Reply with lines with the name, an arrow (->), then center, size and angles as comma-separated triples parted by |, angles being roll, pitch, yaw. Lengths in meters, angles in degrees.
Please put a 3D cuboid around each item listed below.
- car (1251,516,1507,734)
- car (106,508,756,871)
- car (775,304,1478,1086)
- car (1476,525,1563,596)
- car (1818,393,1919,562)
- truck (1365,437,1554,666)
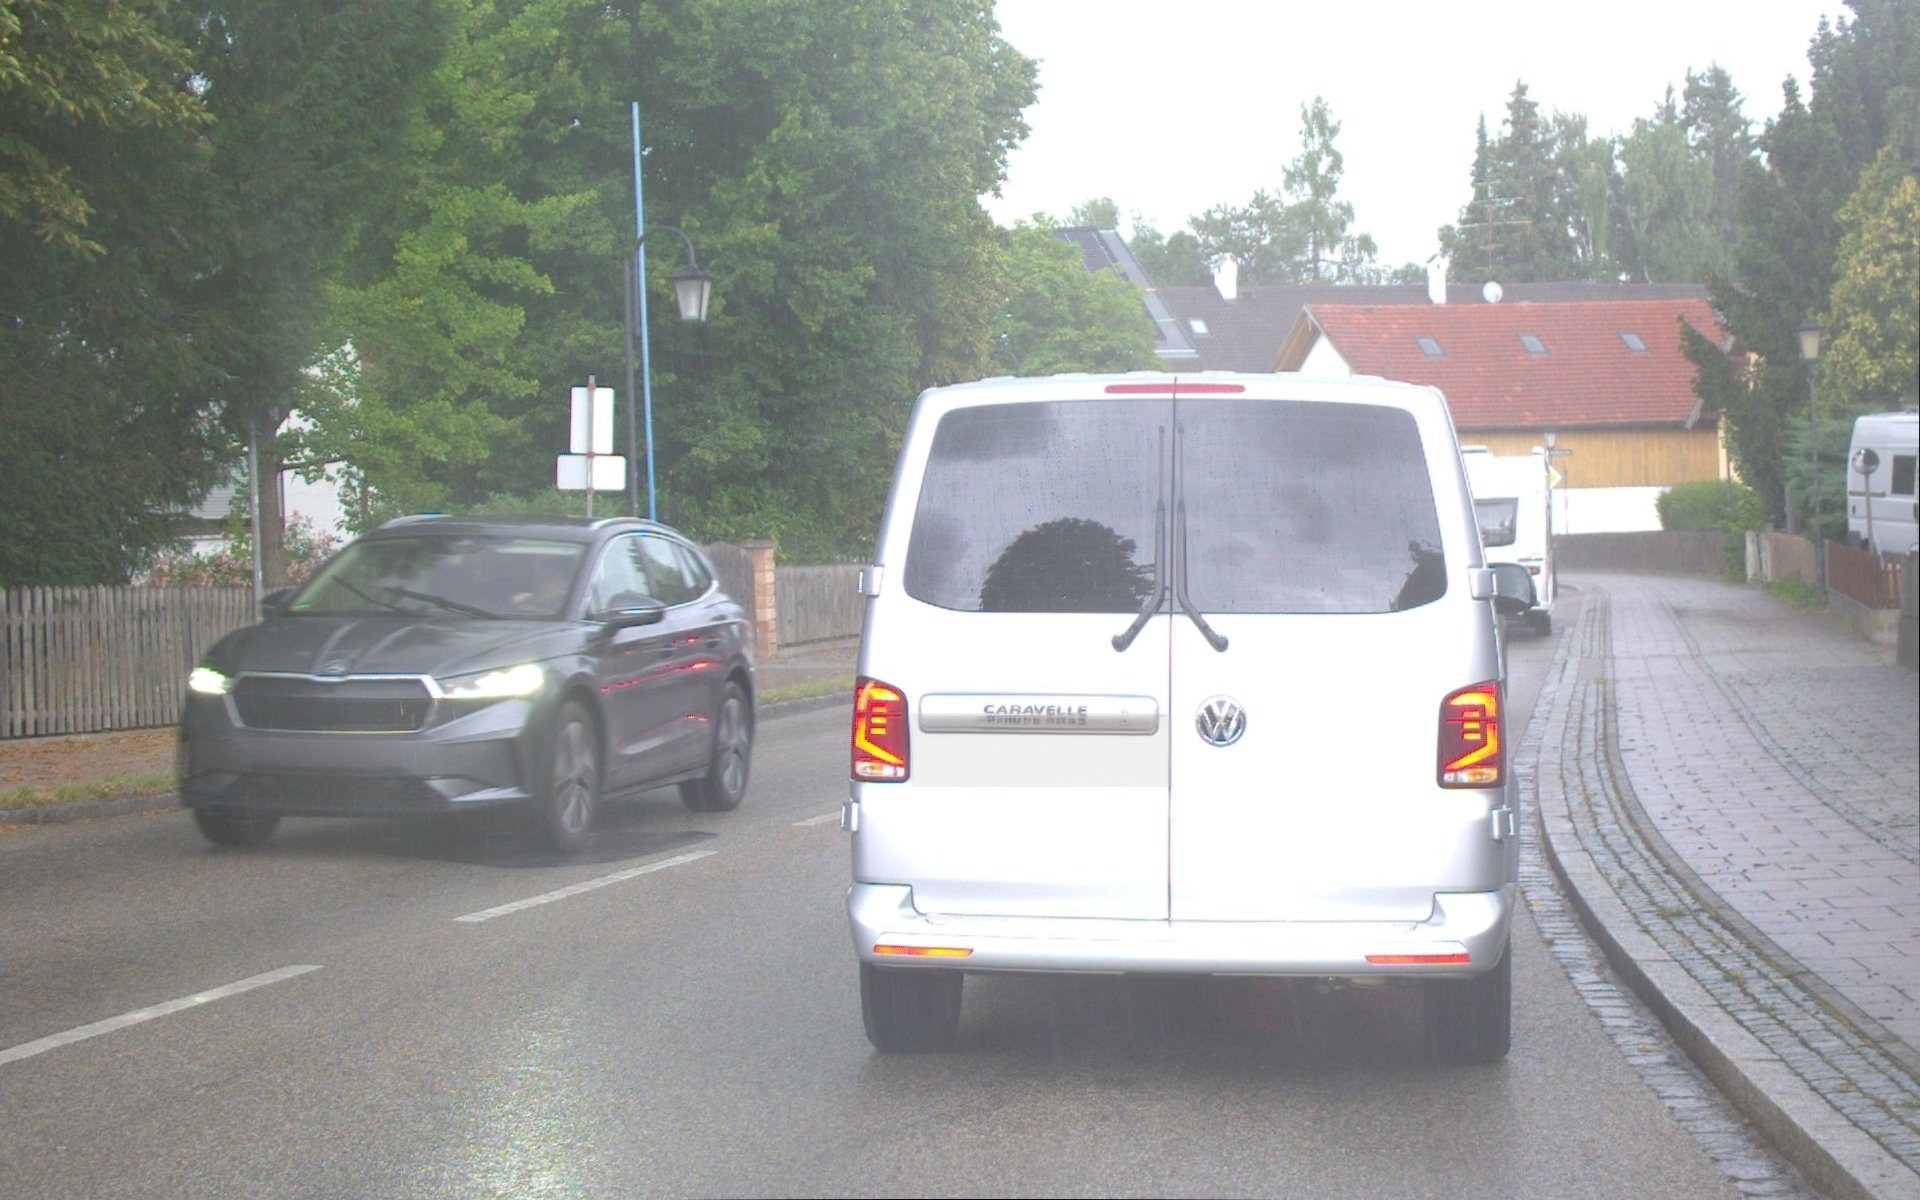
car -> 3.396, 0.165, 27.319 | 1.801, 1.583, 3.998 | 1, 1, 10
car -> -2.500, 0.351, 17.393 | 1.994, 1.589, 4.190 | 1, 1, 10
car -> 0.599, 0.222, 10.926 | 1.801, 2.007, 3.999 | 1, 0, 5
car -> 12.328, -0.864, 75.629 | 1.801, 1.503, 3.998 | 1, 1, 10
car -> 13.353, -1.613, 46.522 | 1.993, 2.166, 4.953 | 1, 0, -3
truck -> 7.288, -0.687, 49.599 | 2.476, 3.063, 6.293 | 1, 0, 10
